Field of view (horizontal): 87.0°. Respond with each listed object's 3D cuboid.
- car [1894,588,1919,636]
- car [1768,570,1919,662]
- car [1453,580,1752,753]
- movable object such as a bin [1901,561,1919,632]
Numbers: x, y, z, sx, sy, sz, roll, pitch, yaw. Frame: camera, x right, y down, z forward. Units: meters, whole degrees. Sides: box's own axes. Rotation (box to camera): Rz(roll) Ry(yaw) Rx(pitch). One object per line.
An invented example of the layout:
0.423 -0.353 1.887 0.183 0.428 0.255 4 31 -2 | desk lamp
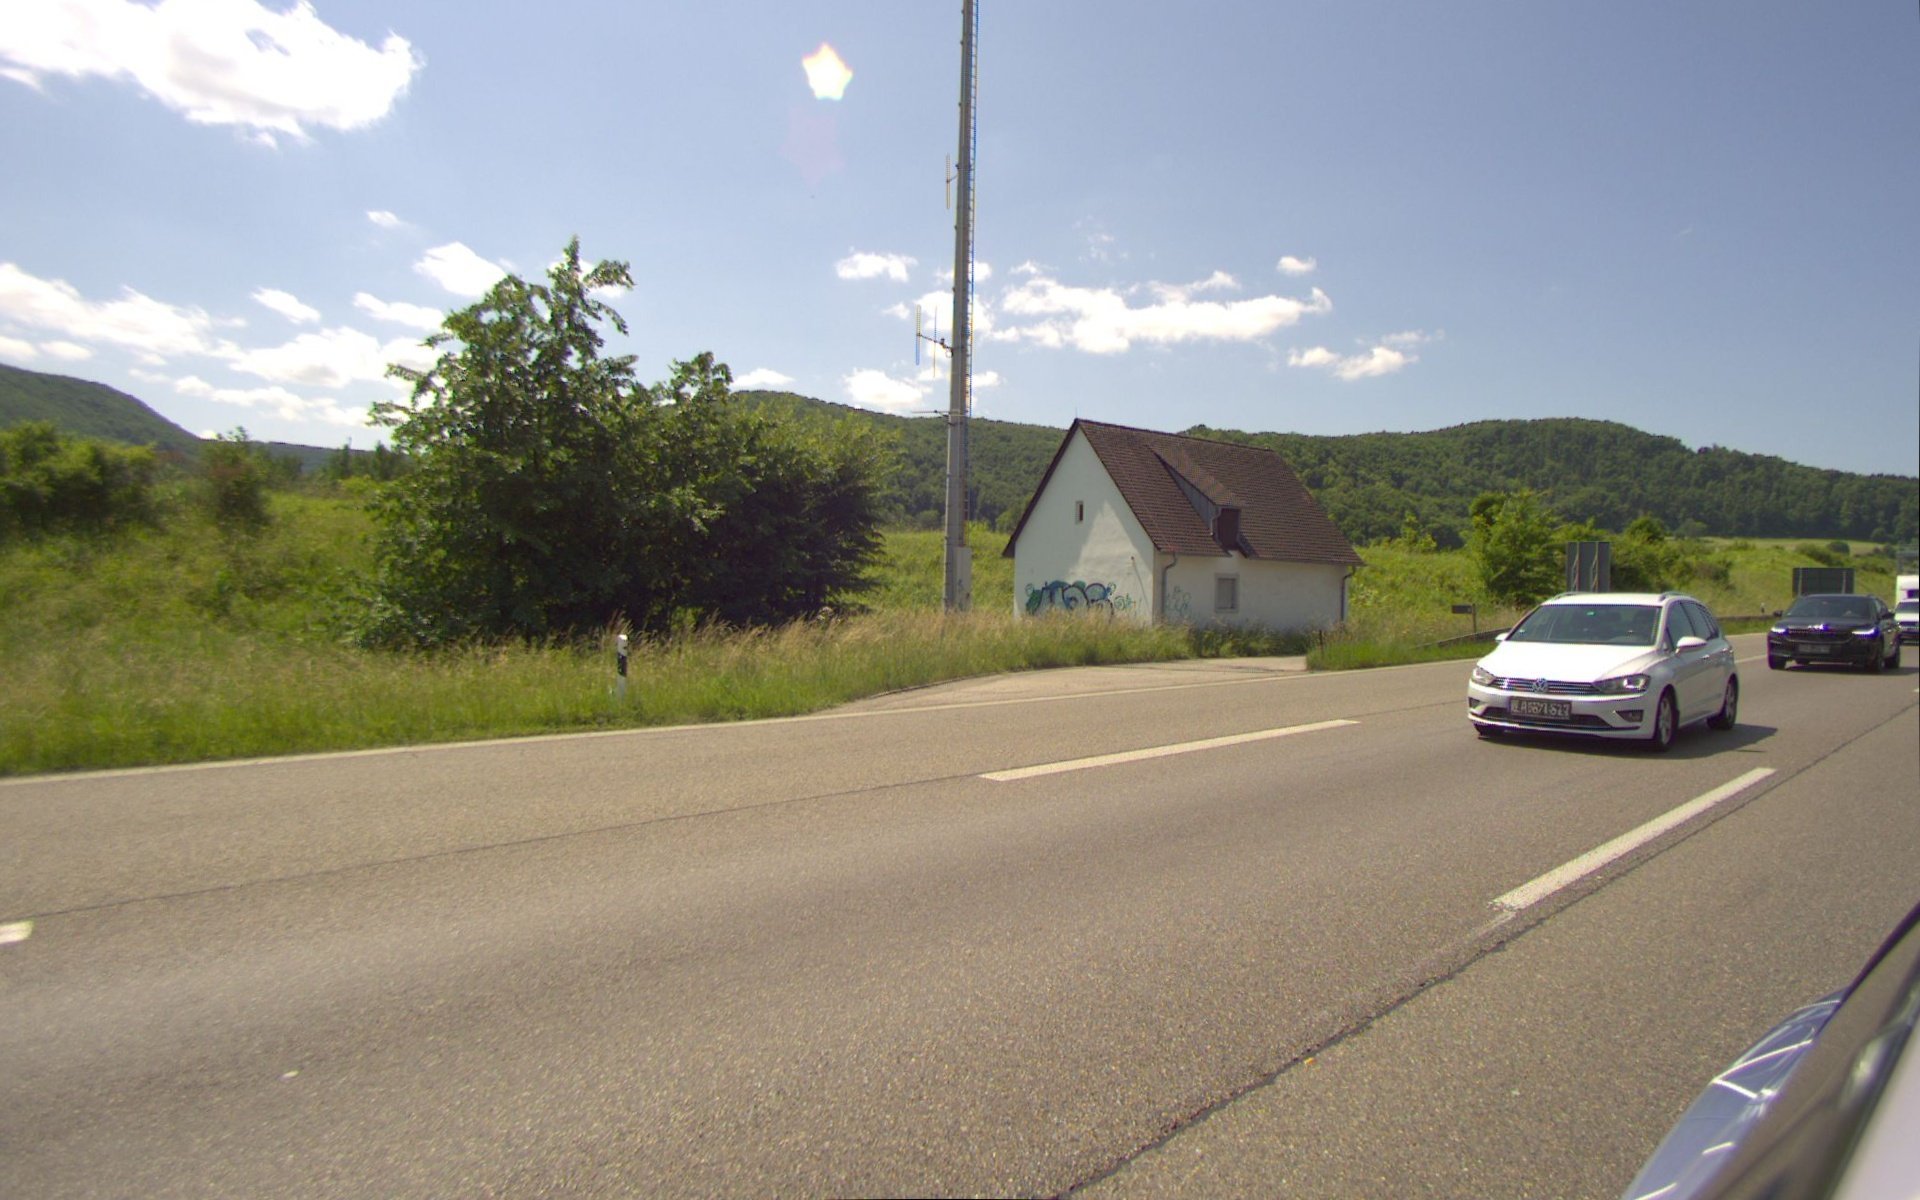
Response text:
33.628 0.403 34.774 3.930 1.603 1.820 0 0 -41 | car
19.224 0.307 21.928 4.097 1.794 1.893 0 1 -40 | car
7.160 0.587 11.121 3.984 1.560 1.775 0 0 -42 | car
38.685 -0.132 39.247 6.590 2.665 2.479 0 0 -41 | movable object such as a bin
